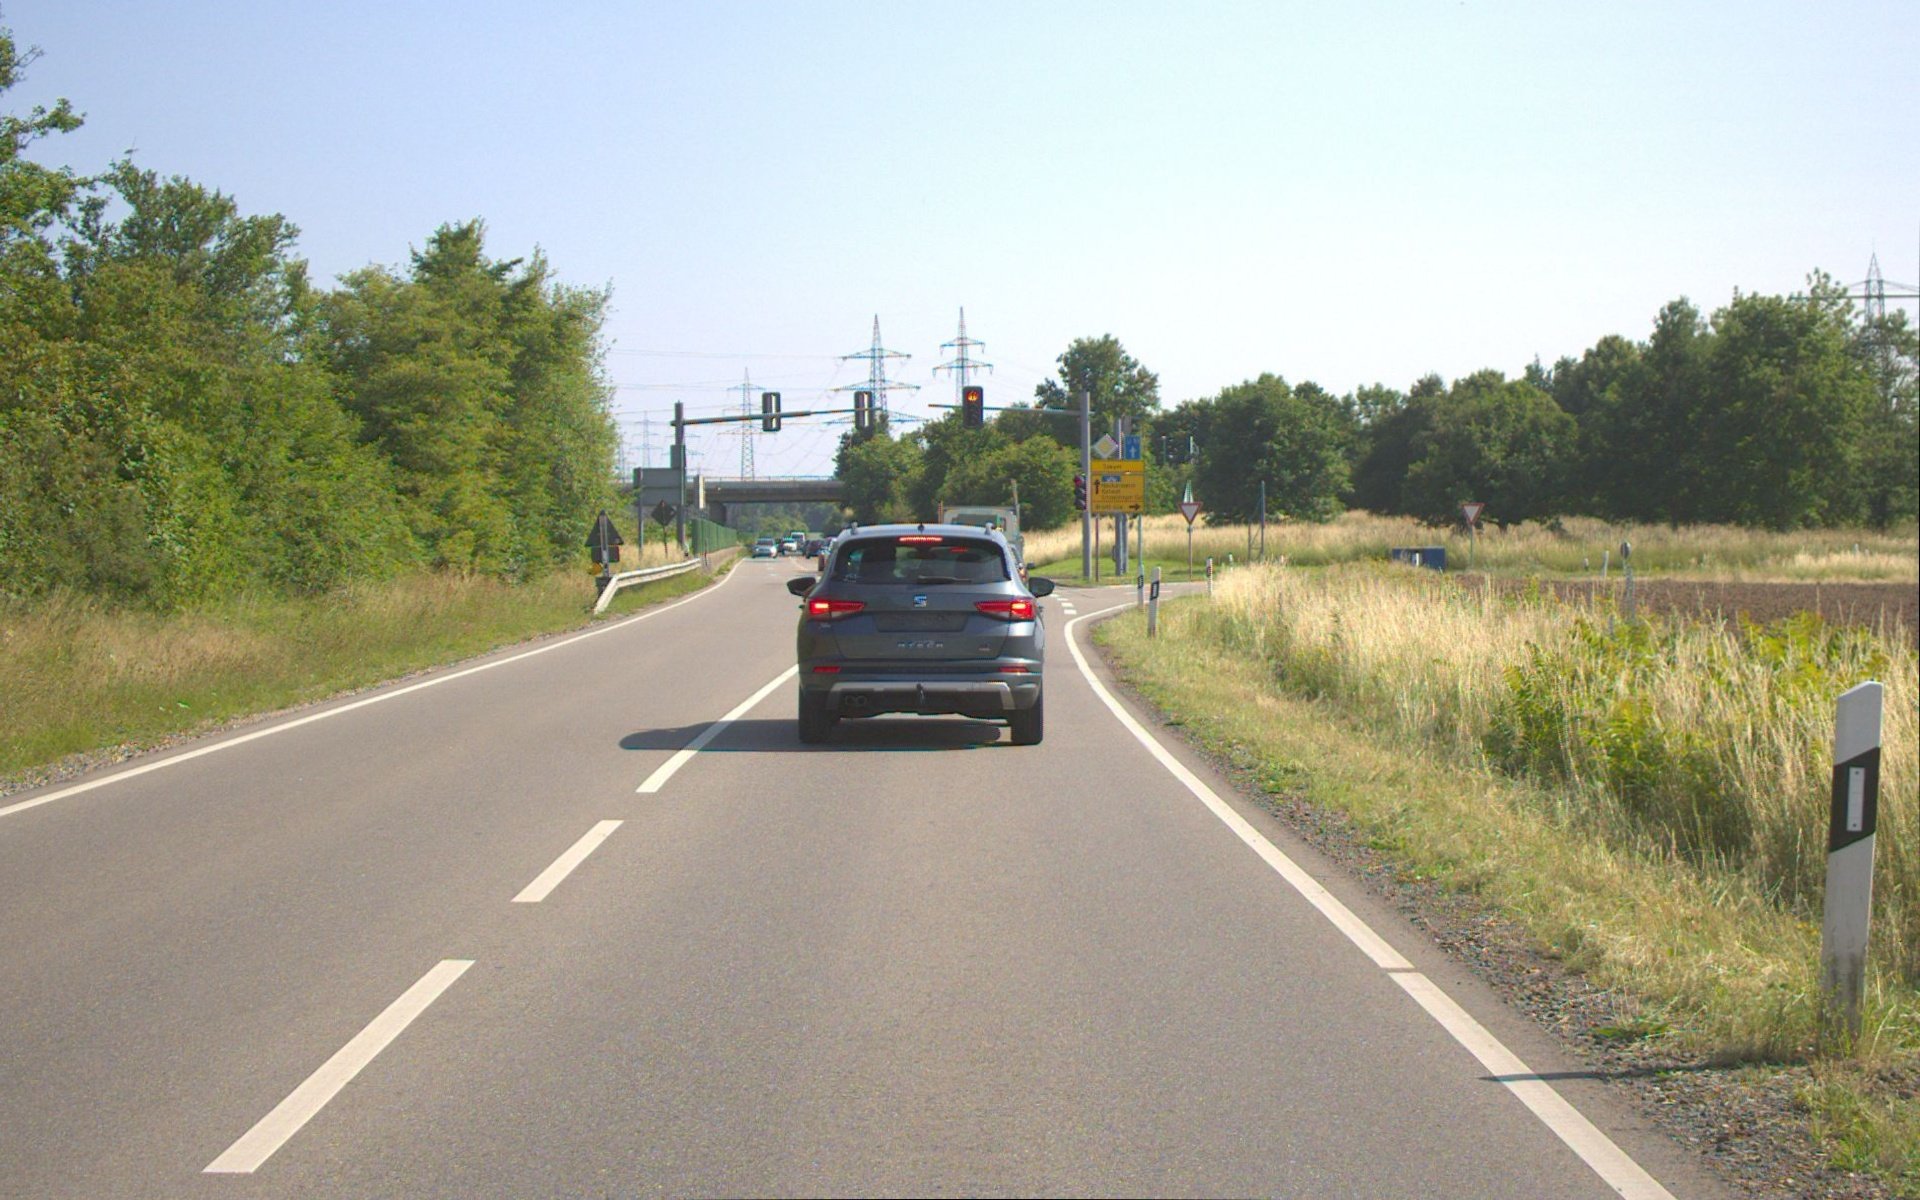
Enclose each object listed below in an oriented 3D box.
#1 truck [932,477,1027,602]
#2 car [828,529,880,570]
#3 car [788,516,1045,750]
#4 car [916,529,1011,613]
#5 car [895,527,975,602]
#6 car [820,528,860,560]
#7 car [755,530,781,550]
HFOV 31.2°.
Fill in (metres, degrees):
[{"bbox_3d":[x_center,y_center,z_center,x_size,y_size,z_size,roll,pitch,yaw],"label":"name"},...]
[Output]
[{"bbox_3d":[0.505,-1.520,87.710,2.337,3.055,5.809,0,1,1],"label":"truck"},{"bbox_3d":[-4.109,-1.967,132.640,1.816,1.535,4.001,-1,1,-4],"label":"car"},{"bbox_3d":[-0.323,0.186,26.044,1.785,1.623,4.000,0,1,-1],"label":"car"},{"bbox_3d":[0.044,-0.586,66.555,1.785,1.538,4.000,0,1,-1],"label":"car"},{"bbox_3d":[-0.586,-0.839,79.650,1.785,1.670,4.000,0,1,-1],"label":"car"},{"bbox_3d":[-5.361,-2.478,152.941,1.684,1.375,3.534,0,2,-4],"label":"car"},{"bbox_3d":[-14.285,-4.448,255.175,1.824,1.426,4.001,-1,1,-4],"label":"car"}]
